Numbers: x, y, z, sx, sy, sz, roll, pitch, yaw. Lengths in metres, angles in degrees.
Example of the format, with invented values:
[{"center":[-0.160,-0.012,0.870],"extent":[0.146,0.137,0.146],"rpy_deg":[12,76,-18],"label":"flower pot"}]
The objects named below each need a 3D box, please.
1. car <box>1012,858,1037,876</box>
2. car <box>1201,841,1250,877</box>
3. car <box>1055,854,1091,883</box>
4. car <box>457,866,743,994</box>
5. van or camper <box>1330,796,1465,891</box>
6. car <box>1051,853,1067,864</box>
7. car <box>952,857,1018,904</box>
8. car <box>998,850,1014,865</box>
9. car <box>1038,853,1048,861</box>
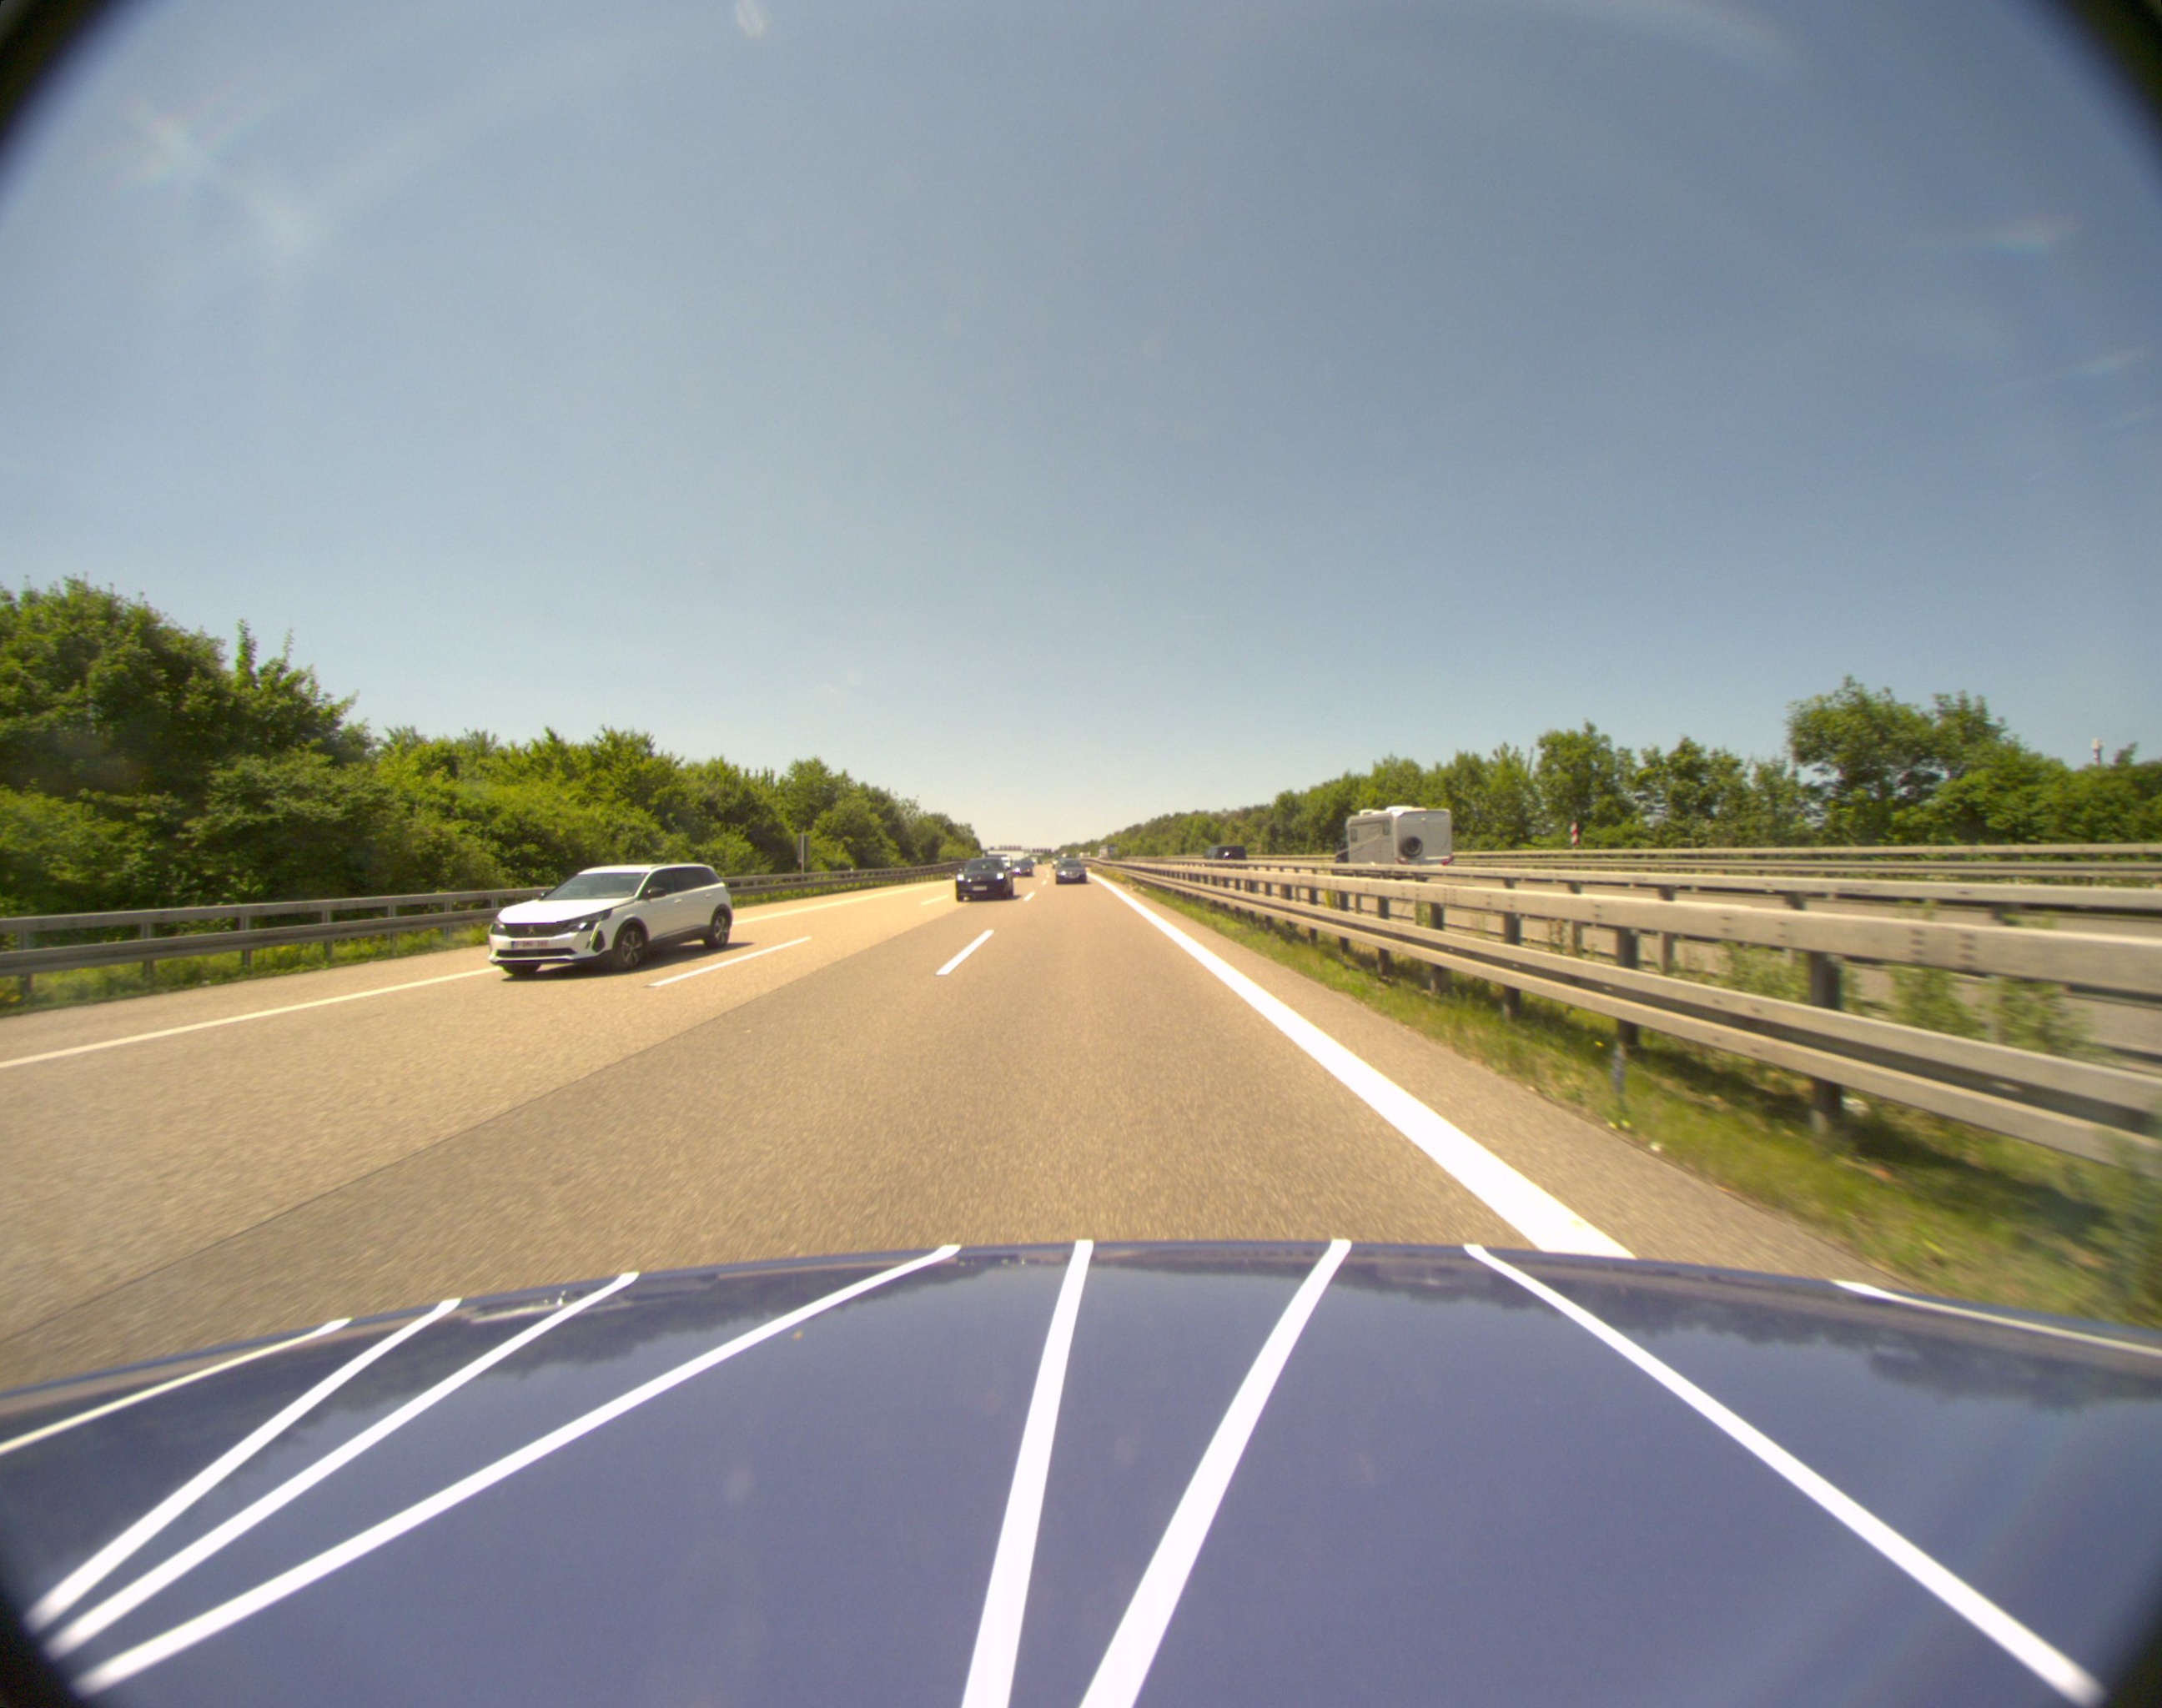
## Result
[{"center":[-4.898,1.120,66.077],"extent":[1.932,1.390,4.116],"rpy_deg":[-2,1,-1],"label":"car"},{"center":[8.158,0.296,43.370],"extent":[1.931,1.881,4.484],"rpy_deg":[-2,0,1],"label":"car"},{"center":[-0.426,0.834,44.705],"extent":[1.931,1.499,4.391],"rpy_deg":[-2,1,1],"label":"car"},{"center":[-7.648,1.089,12.774],"extent":[1.748,1.582,4.619],"rpy_deg":[-2,1,1],"label":"car"},{"center":[12.306,-0.353,30.256],"extent":[2.319,3.292,6.831],"rpy_deg":[-2,0,-1],"label":"van or camper"},{"center":[-3.057,0.632,106.096],"extent":[1.931,1.390,4.117],"rpy_deg":[-2,1,2],"label":"car"},{"center":[-3.628,0.957,29.499],"extent":[1.931,1.586,4.131],"rpy_deg":[-2,1,1],"label":"car"},{"center":[-10.256,0.434,104.111],"extent":[1.809,1.908,4.293],"rpy_deg":[-2,1,-2],"label":"car"},{"center":[-9.327,0.786,186.136],"extent":[2.000,1.849,3.996],"rpy_deg":[-2,1,-10],"label":"car"}]
